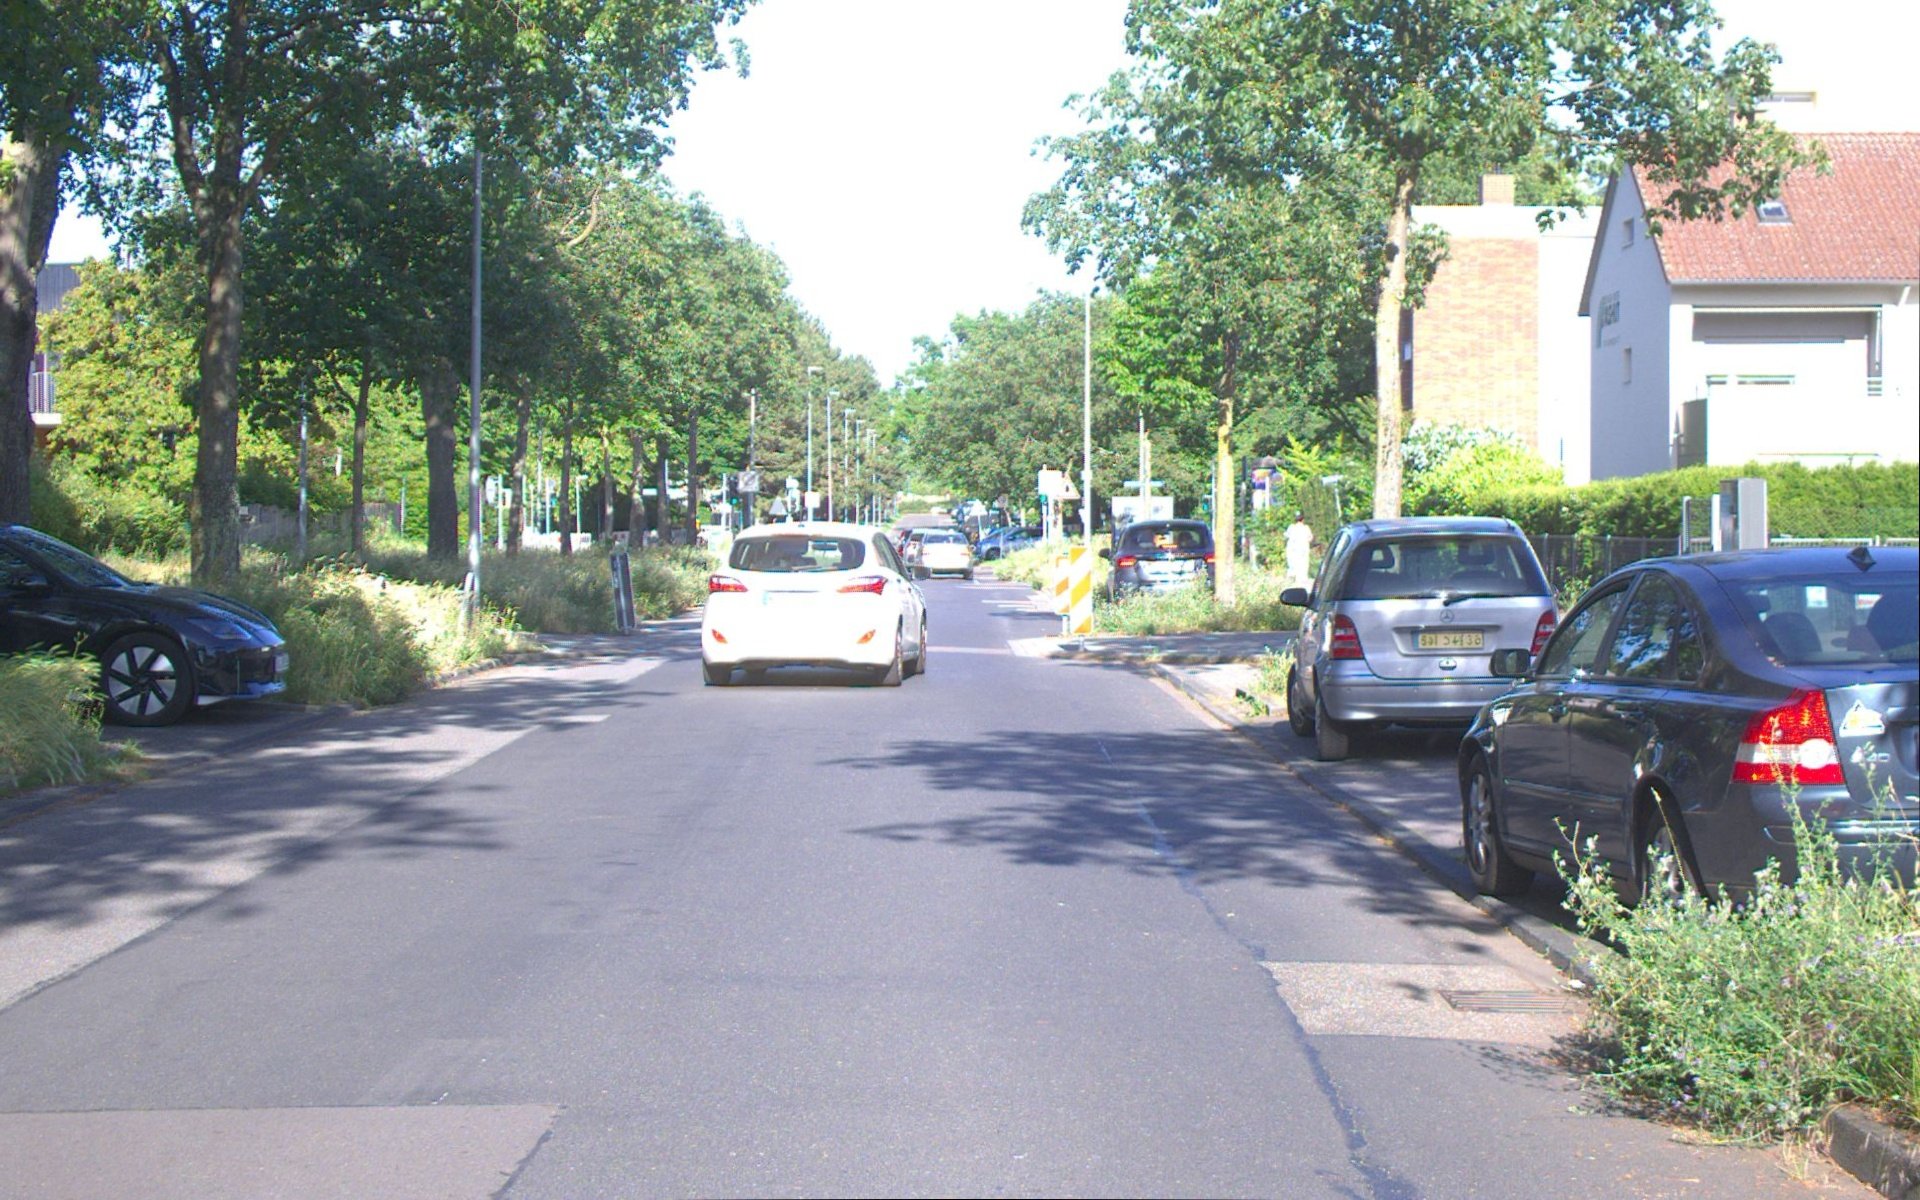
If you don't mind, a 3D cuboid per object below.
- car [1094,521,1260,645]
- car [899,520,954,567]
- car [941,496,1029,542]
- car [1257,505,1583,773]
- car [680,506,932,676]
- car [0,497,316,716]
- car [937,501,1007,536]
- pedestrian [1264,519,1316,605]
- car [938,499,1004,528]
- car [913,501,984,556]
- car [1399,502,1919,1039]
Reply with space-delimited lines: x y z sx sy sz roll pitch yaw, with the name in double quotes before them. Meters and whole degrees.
"car" 3.171 -0.269 50.954 1.993 1.722 4.001 -1 1 -3
"car" -1.168 -1.983 120.255 1.816 1.503 3.659 3 1 0
"car" 1.164 -3.751 159.326 3.986 2.007 2.000 1 1 -1
"car" 3.119 0.197 24.098 1.610 1.616 4.382 3 1 0
"car" -1.372 -0.139 32.288 1.994 1.450 4.225 1 2 2
"car" -7.188 -0.010 25.769 4.367 1.526 1.808 2 1 -1
"car" 0.695 -4.762 201.381 3.986 2.006 2.000 1 2 -1
"pedestrian" 7.734 -0.899 80.677 1.112 2.006 0.922 0 2 0
"car" 0.664 -5.324 211.646 3.986 1.744 2.000 1 2 -3
"car" -0.354 -2.159 103.314 1.993 1.503 3.659 3 1 0
"car" 3.174 0.504 12.786 1.993 1.616 4.383 3 1 -6
